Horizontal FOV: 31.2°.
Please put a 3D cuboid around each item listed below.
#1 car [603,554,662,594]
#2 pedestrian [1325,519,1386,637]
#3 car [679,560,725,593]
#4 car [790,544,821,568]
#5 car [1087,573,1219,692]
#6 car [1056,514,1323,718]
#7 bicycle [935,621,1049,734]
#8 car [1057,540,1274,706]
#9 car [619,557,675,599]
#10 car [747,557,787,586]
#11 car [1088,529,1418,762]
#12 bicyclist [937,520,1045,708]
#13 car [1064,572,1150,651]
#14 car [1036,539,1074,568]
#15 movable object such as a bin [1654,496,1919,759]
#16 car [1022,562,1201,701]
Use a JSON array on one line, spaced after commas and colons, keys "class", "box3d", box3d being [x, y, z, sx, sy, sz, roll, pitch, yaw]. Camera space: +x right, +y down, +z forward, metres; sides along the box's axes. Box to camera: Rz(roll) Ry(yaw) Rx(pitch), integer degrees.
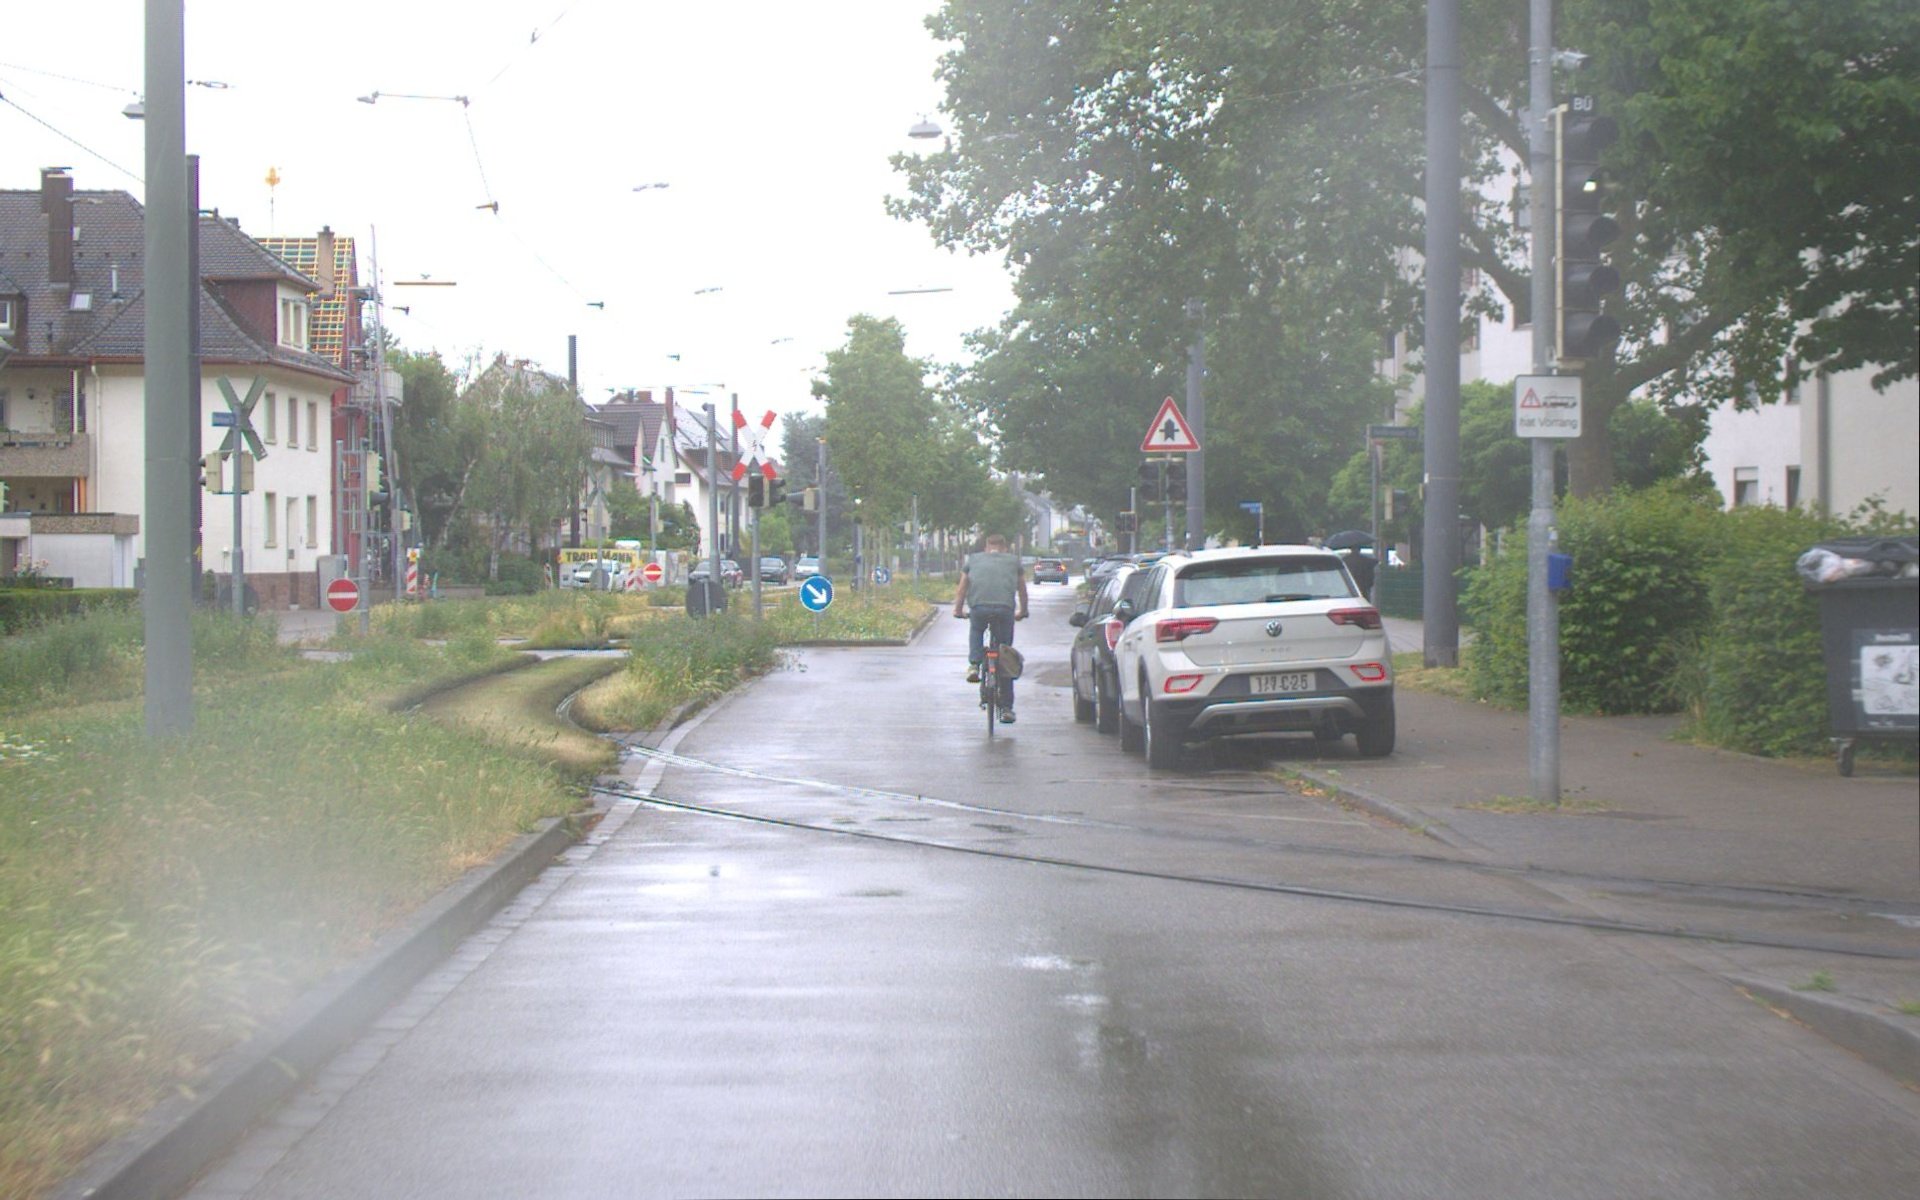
[{"class": "car", "box3d": [-13.494, -1.069, 141.760, 1.993, 1.539, 4.000, 0, -1, 0]}, {"class": "pedestrian", "box3d": [5.853, -0.326, 50.890, 0.747, 1.710, 0.750, -2, 0, 0]}, {"class": "car", "box3d": [-12.894, -1.181, 171.886, 1.993, 1.539, 4.000, 0, -1, 0]}, {"class": "car", "box3d": [-10.758, -3.092, 239.726, 1.993, 1.539, 4.000, 0, -1, 0]}, {"class": "car", "box3d": [3.431, 0.564, 61.678, 1.941, 2.006, 4.000, -2, 0, -2]}, {"class": "car", "box3d": [1.979, 0.134, 30.796, 1.941, 1.646, 4.000, -2, 0, -2]}, {"class": "bicycle", "box3d": [0.260, 0.645, 29.398, 0.821, 0.909, 1.986, -1, 0, -4]}, {"class": "car", "box3d": [2.183, 0.239, 37.496, 1.941, 1.646, 4.000, -2, 0, -2]}, {"class": "car", "box3d": [-13.414, -0.929, 147.389, 1.993, 1.699, 4.000, 0, -1, 0]}, {"class": "car", "box3d": [-10.926, -1.593, 194.879, 1.993, 1.539, 4.000, 0, -1, 0]}, {"class": "car", "box3d": [2.108, 0.315, 25.808, 1.954, 1.548, 4.000, -2, 0, -2]}, {"class": "bicyclist", "box3d": [0.258, 0.117, 29.242, 0.831, 1.553, 0.914, -1, 0, -4]}, {"class": "car", "box3d": [3.940, 0.294, 92.478, 1.941, 2.006, 4.000, -2, 0, -2]}, {"class": "car", "box3d": [5.338, -2.588, 193.129, 1.993, 1.487, 4.000, 0, -1, -1]}, {"class": "movable object such as a bin", "box3d": [5.809, 0.163, 23.326, 1.549, 1.698, 1.501, -1, 1, -24]}, {"class": "car", "box3d": [1.903, 0.393, 44.411, 1.941, 1.646, 4.000, -2, 0, -2]}]
